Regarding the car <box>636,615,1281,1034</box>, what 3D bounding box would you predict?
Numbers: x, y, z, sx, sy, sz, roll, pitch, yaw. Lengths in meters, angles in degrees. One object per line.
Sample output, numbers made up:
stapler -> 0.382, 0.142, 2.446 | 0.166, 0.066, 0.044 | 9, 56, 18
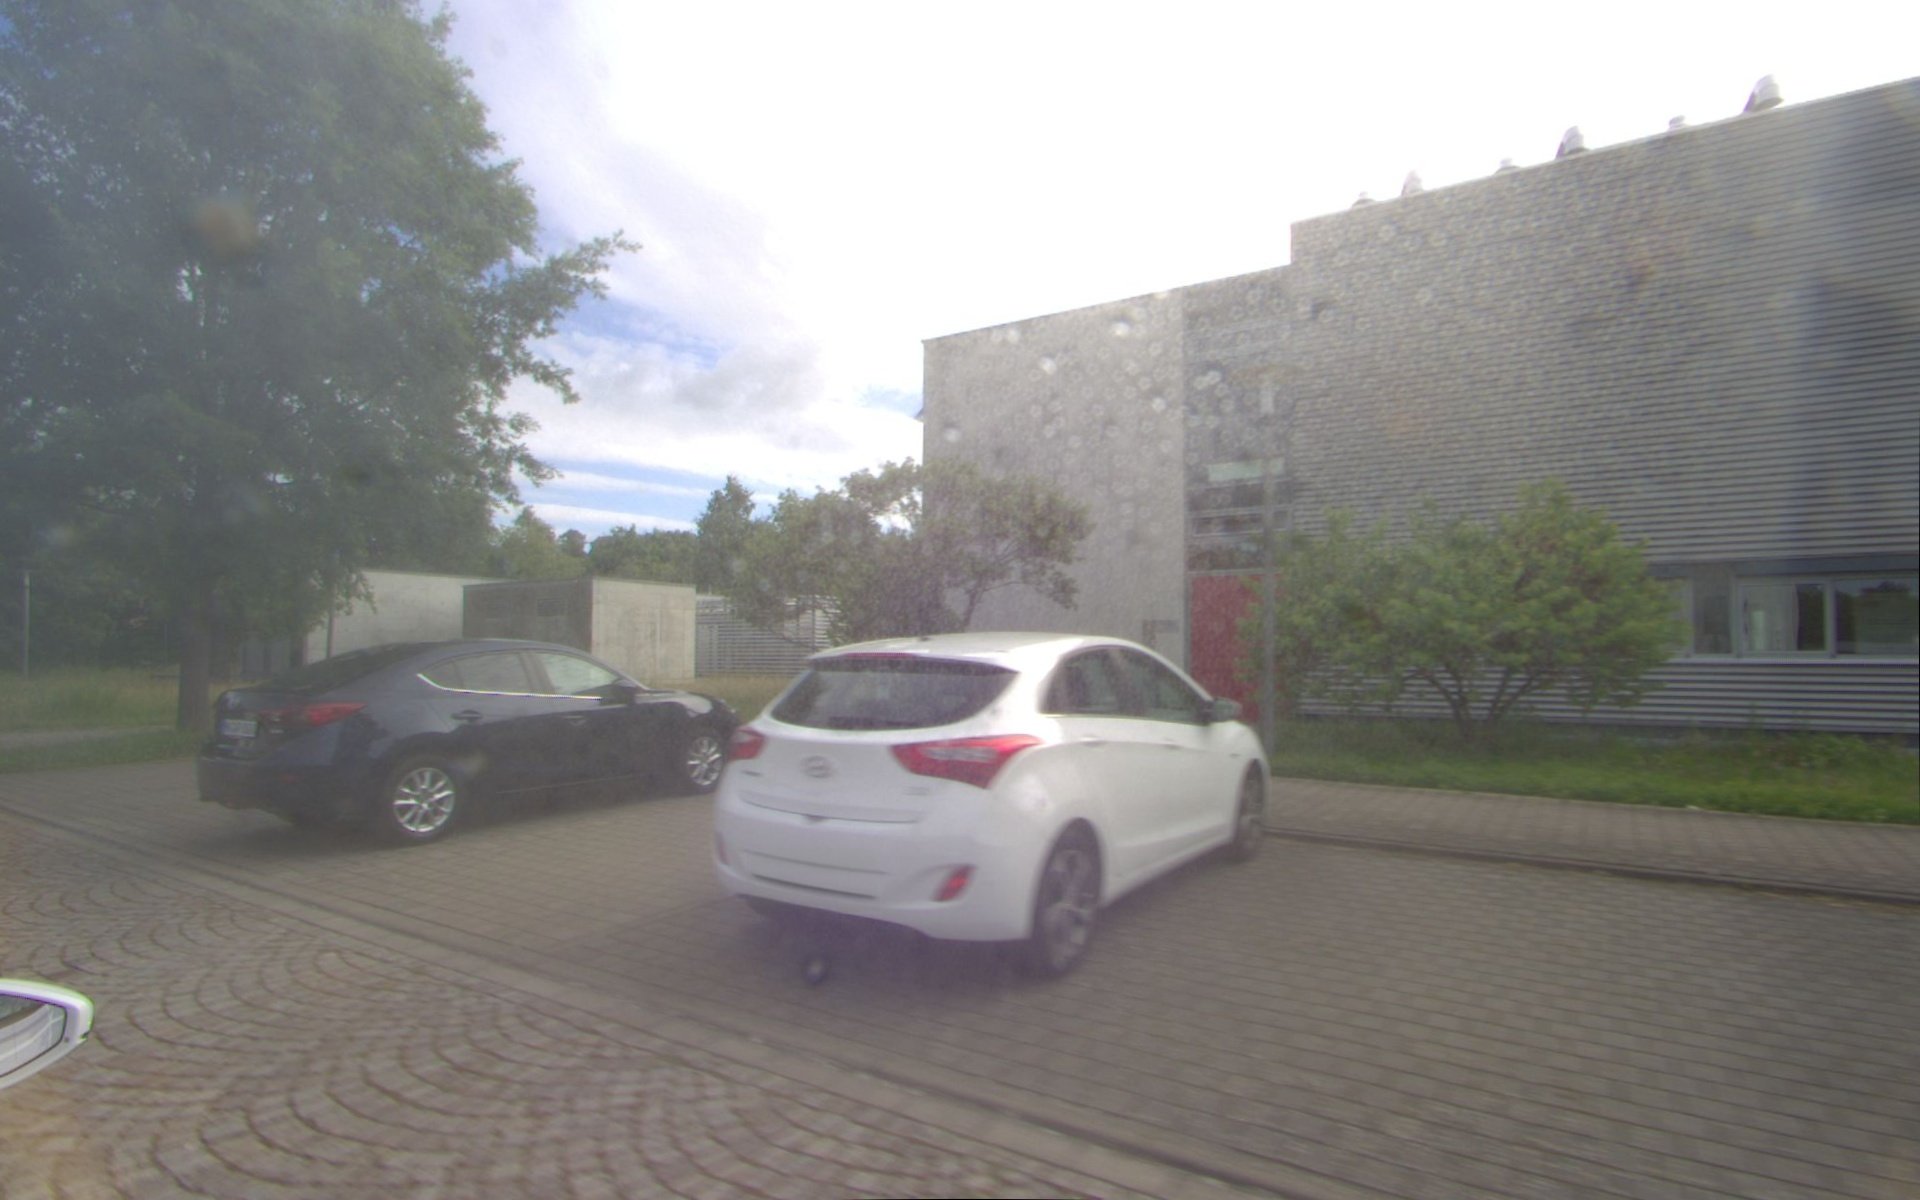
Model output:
car -> 0.364, 0.898, 5.754 | 1.856, 1.484, 3.969 | -1, -3, 33

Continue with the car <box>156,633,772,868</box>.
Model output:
car -> -3.886, 1.028, 8.681 | 1.917, 1.465, 4.455 | -1, -2, 33

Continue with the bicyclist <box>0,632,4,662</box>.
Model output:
bicyclist -> -39.644, 1.899, 40.850 | 0.580, 1.221, 0.768 | -1, -3, 33

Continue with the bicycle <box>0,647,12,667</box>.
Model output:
bicycle -> -39.704, 2.320, 40.762 | 0.580, 0.801, 1.514 | -1, -3, 33
